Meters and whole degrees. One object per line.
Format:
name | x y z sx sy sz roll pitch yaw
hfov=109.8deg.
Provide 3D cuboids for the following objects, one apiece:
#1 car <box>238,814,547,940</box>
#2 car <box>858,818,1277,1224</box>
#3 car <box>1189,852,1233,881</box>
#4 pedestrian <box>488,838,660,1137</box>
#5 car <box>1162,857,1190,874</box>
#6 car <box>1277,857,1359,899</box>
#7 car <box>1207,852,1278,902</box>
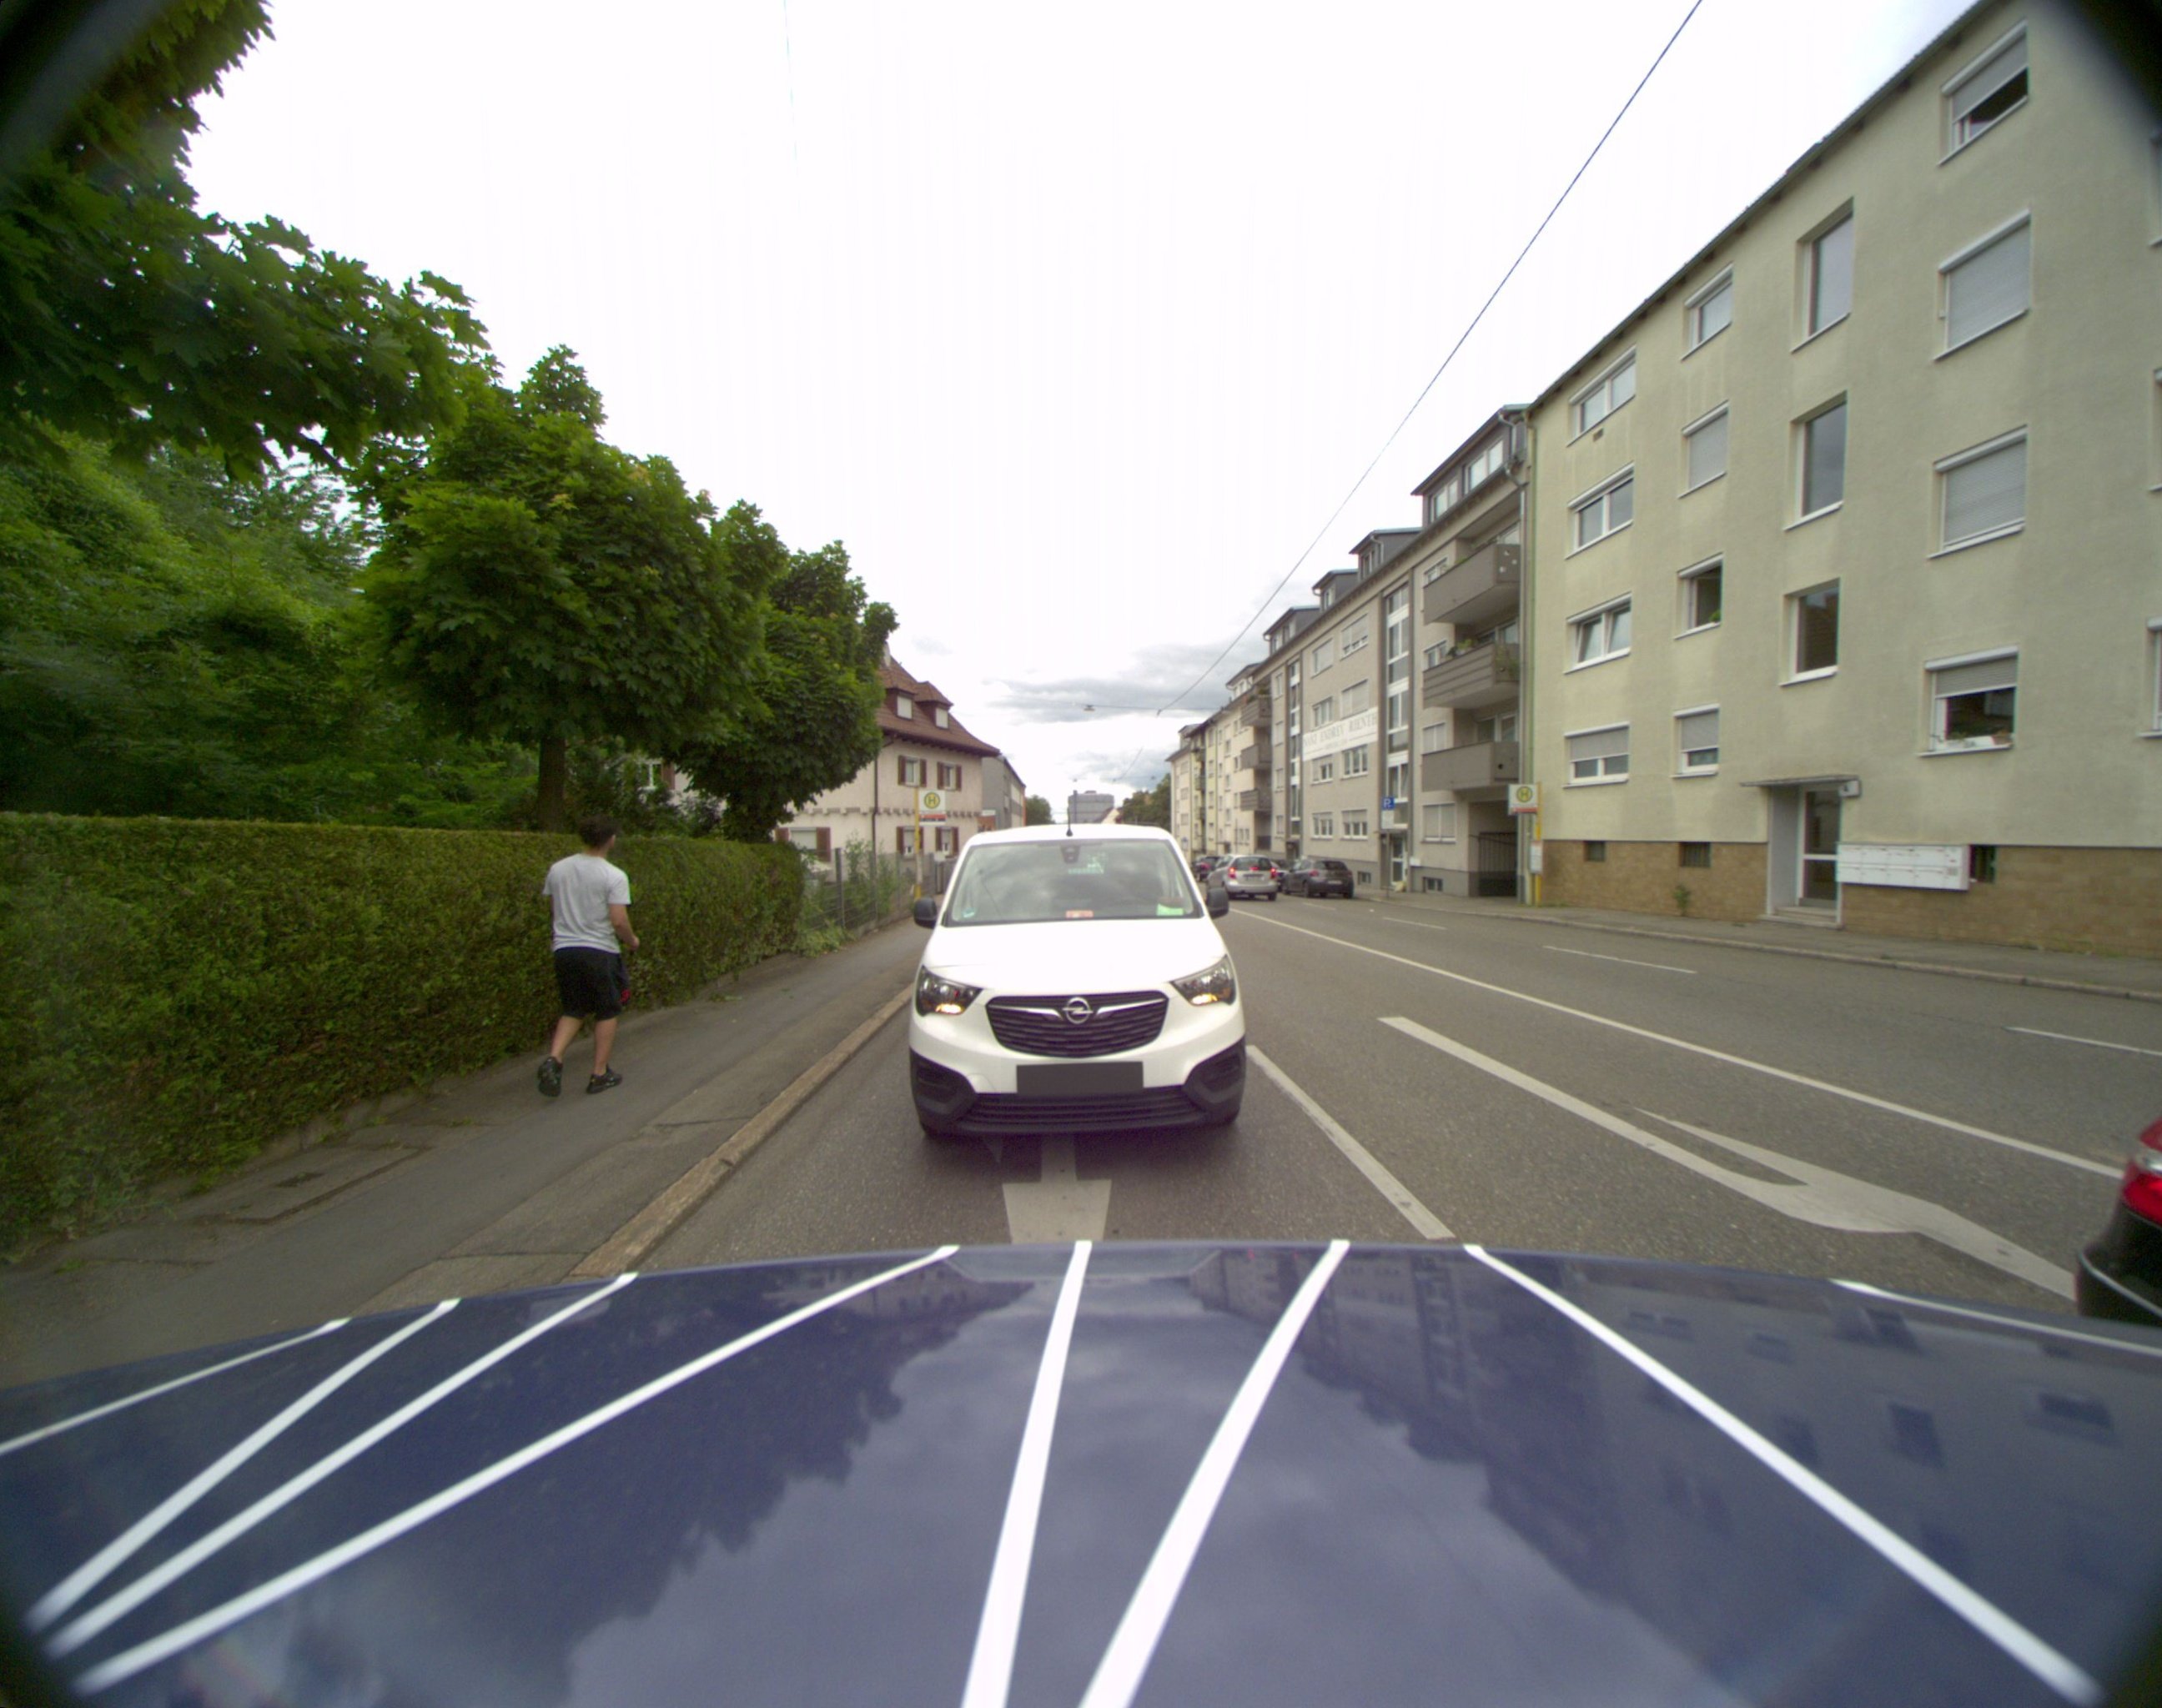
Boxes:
car | -12.683 0.356 14.204 1.994 2.002 4.008 -1 0 40
car | -0.115 0.728 5.411 1.803 1.736 3.999 -3 1 -2
car | 8.334 0.751 49.066 1.875 1.743 4.306 2 1 -2
pedestrian | -3.090 0.782 4.667 0.695 1.728 0.467 2 1 -1
car | 8.197 0.964 65.986 1.875 1.372 4.307 2 0 0
car | 8.894 0.863 28.858 1.773 1.428 3.800 2 0 -2
car | 5.600 0.735 26.799 1.713 1.608 4.000 0 1 1
